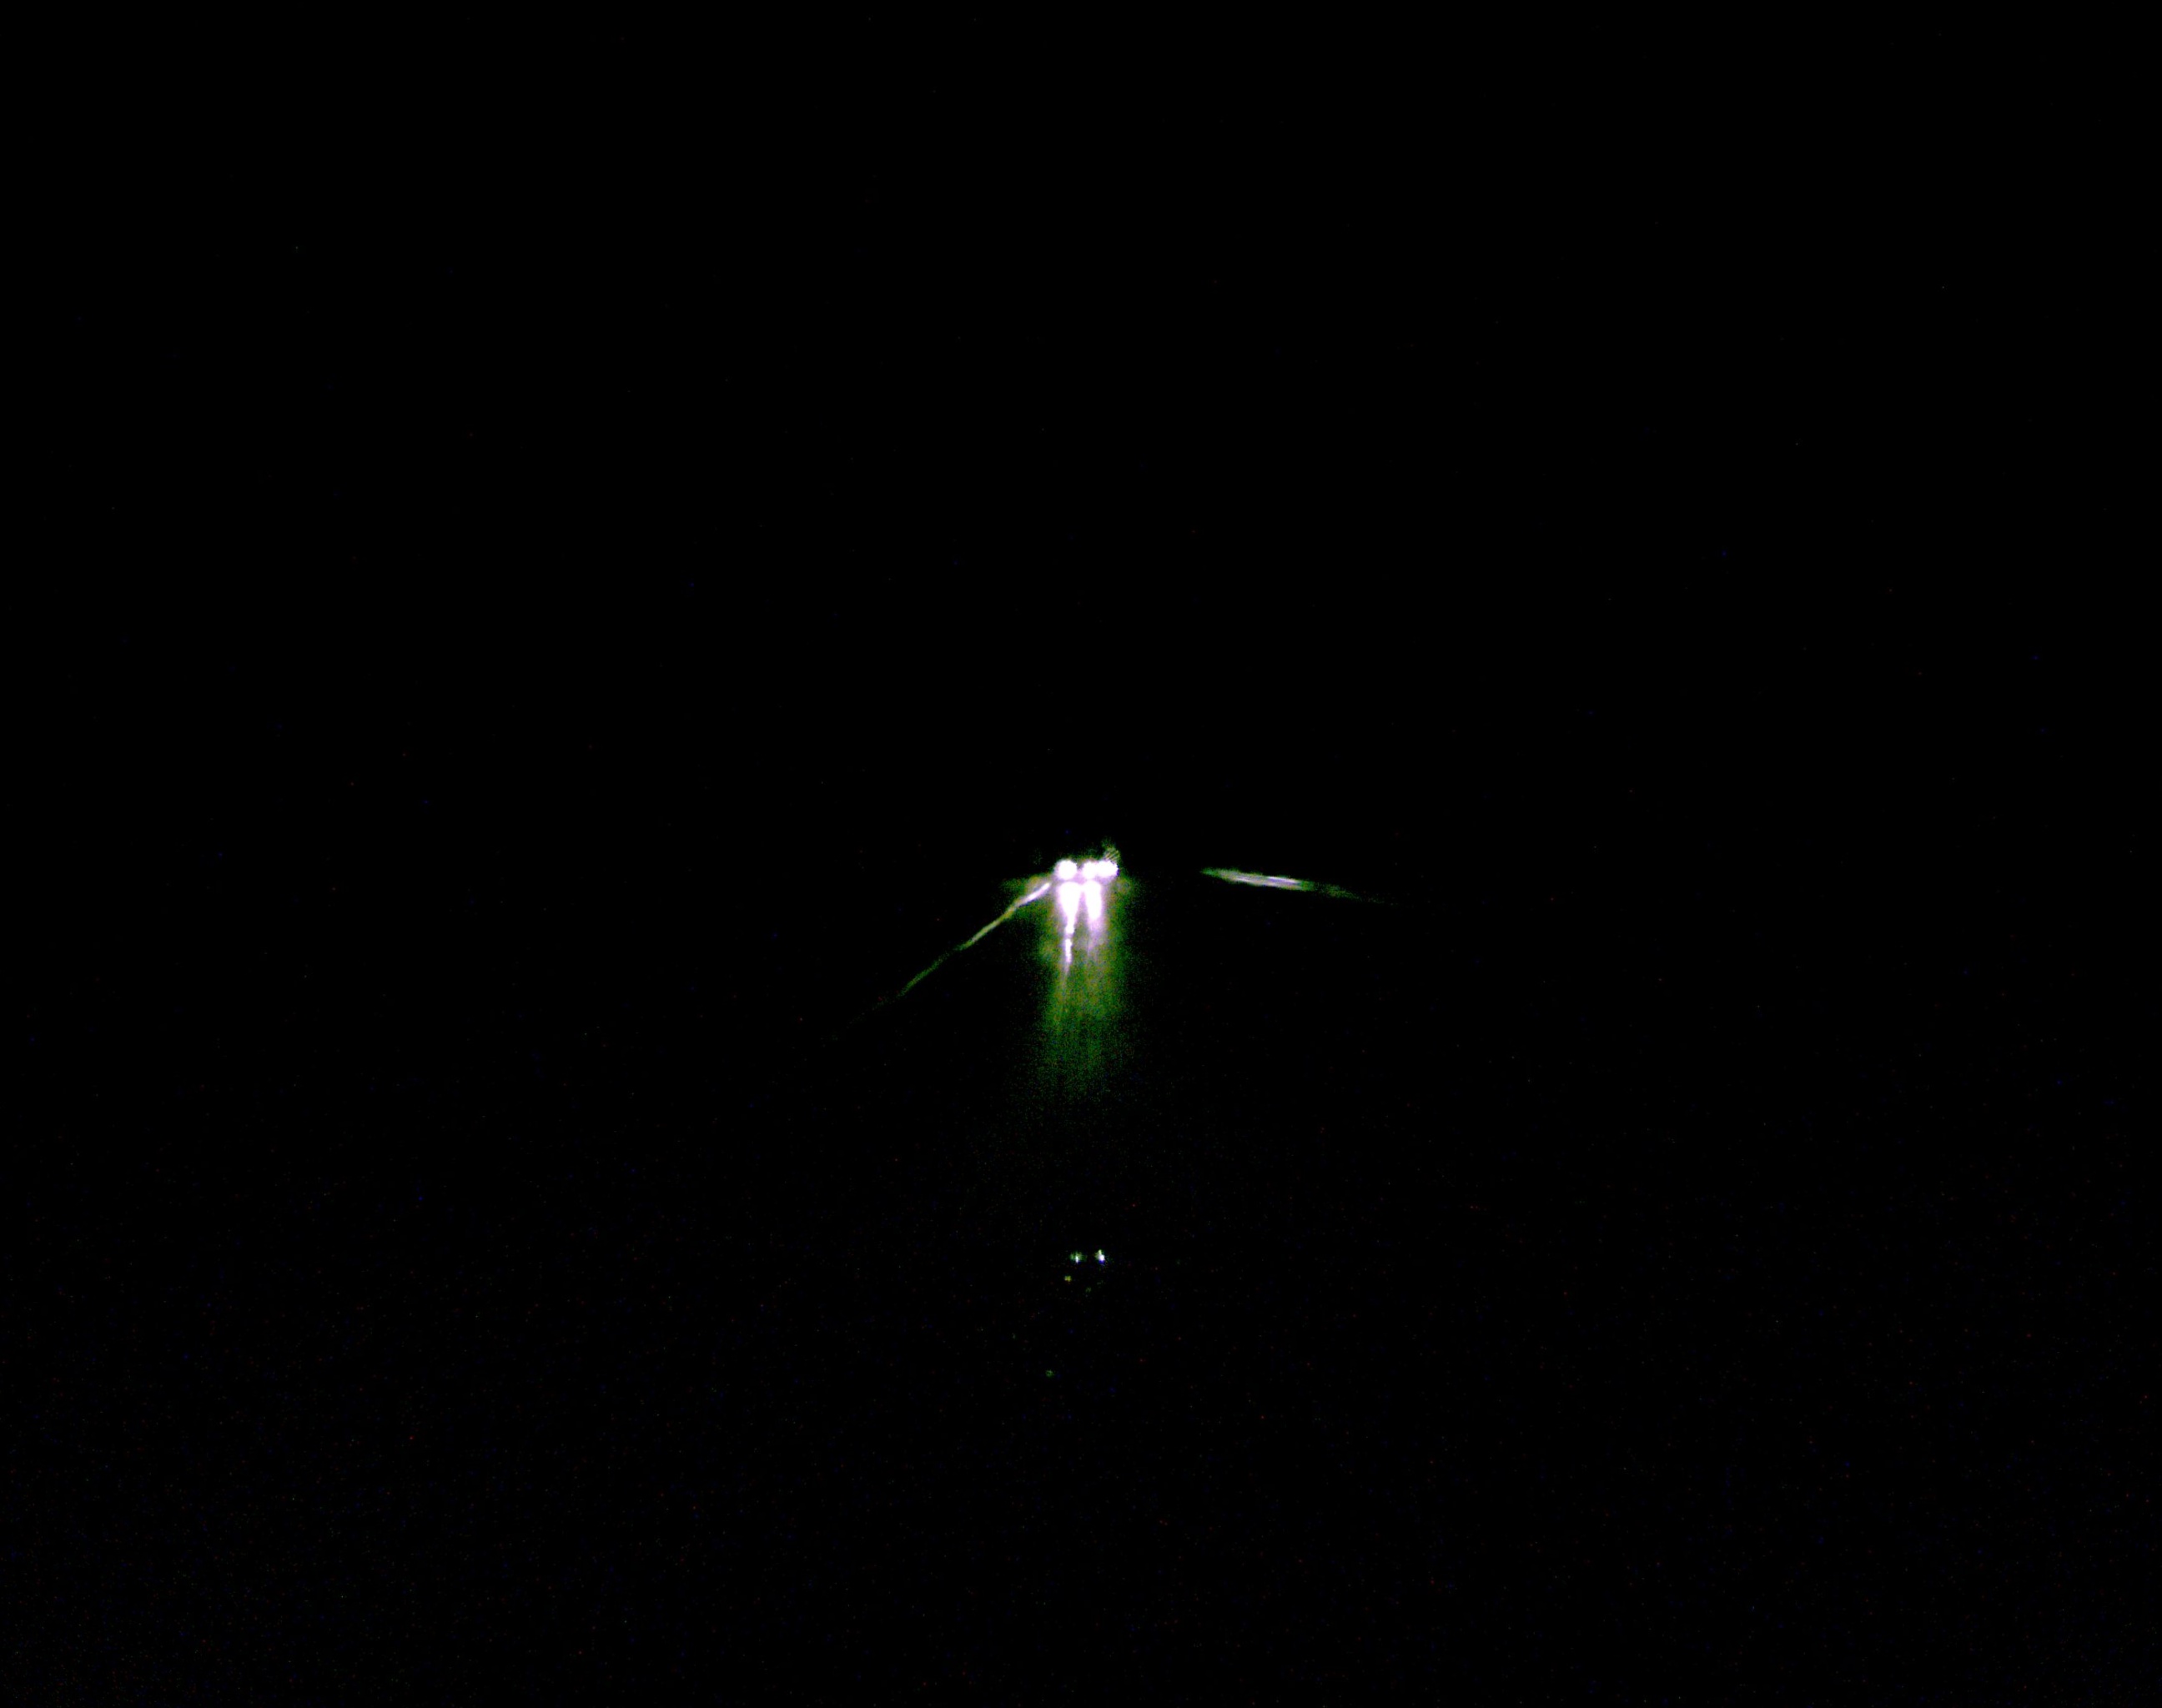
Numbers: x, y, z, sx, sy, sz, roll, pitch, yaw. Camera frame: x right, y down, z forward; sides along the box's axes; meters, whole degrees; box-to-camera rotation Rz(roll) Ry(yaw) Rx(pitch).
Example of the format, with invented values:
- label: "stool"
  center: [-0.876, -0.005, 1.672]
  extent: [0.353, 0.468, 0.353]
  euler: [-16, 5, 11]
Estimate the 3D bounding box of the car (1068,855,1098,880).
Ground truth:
- label: "car"
  center: [0.179, 0.907, 50.704]
  extent: [1.901, 1.551, 4.001]
  euler: [-1, -1, 1]
